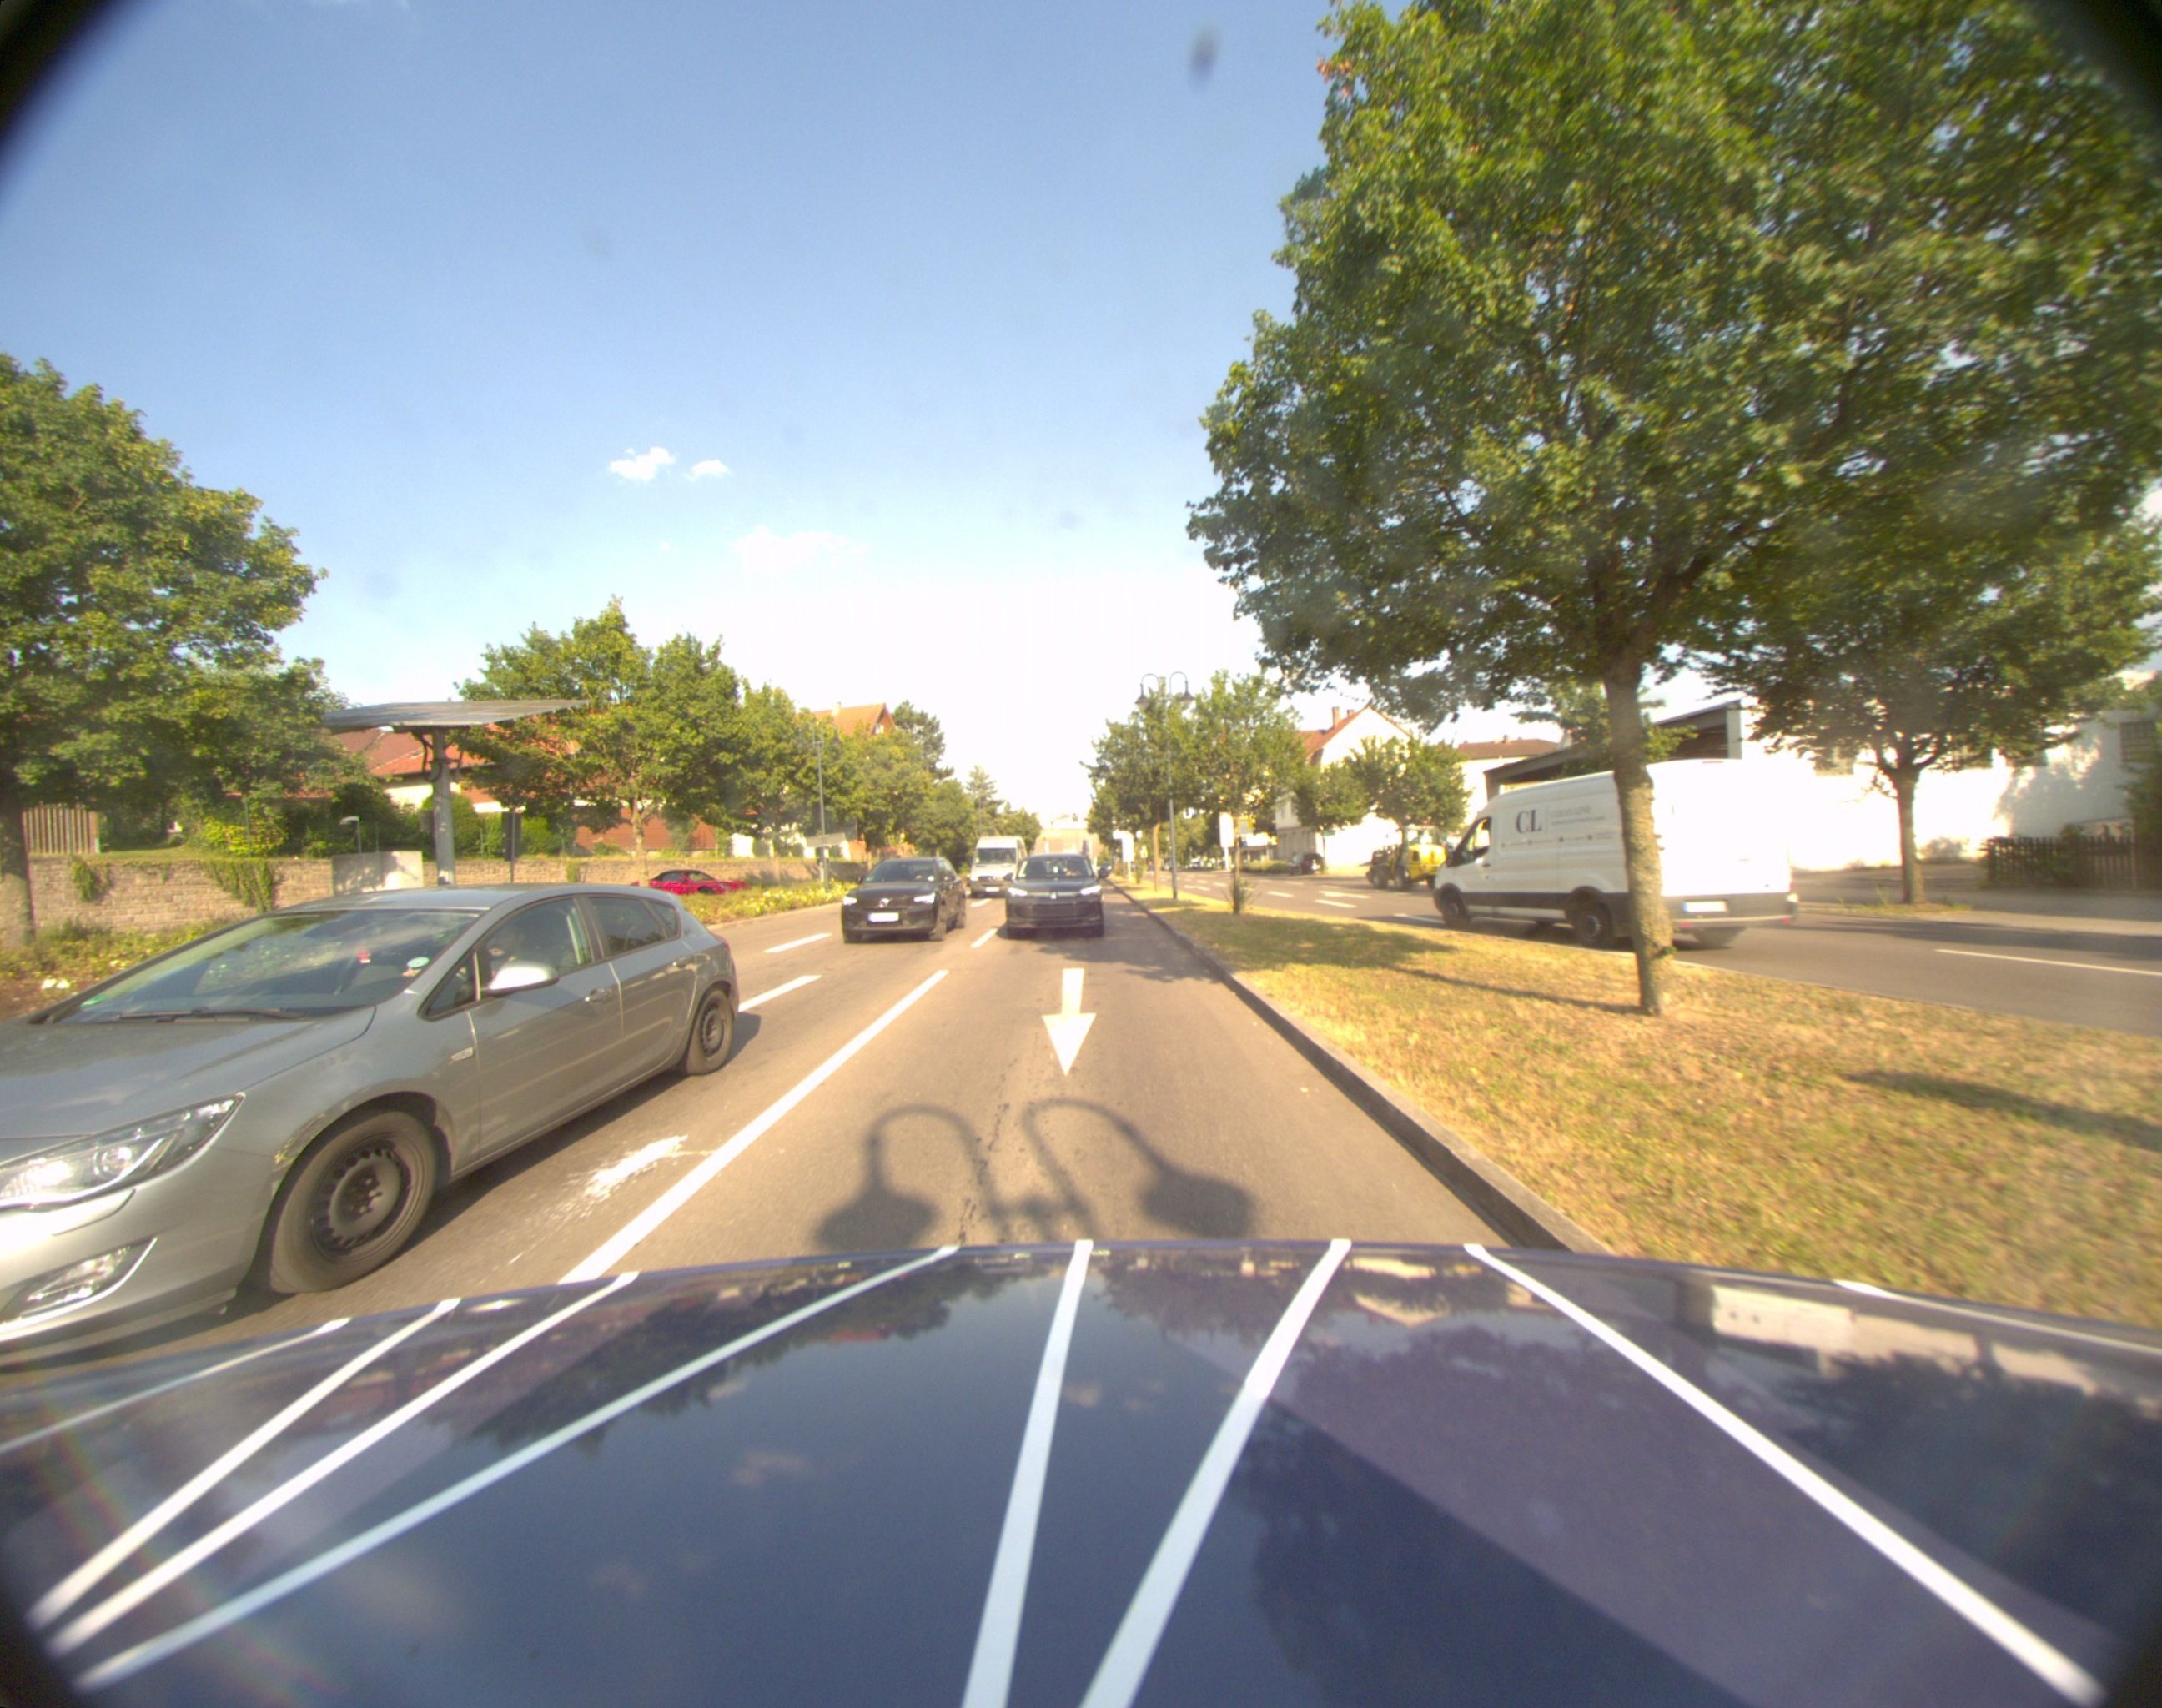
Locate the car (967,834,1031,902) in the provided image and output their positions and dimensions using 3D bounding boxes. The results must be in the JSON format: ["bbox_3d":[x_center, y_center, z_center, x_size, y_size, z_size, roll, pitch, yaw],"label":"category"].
[{"bbox_3d":[-3.436,0.540,33.140,2.040,2.642,6.649,-1,0,0],"label":"car"}]

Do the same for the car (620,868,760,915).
[{"bbox_3d":[-13.518,1.277,26.388,3.994,1.422,1.749,-2,0,8],"label":"car"}]

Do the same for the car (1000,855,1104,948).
[{"bbox_3d":[-0.507,0.848,15.446,1.768,1.582,4.056,-2,0,0],"label":"car"}]

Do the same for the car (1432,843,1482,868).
[{"bbox_3d":[24.913,0.094,50.281,3.438,1.534,1.617,-1,0,-39],"label":"car"}]

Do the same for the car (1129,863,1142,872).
[{"bbox_3d":[10.348,2.507,143.616,1.780,1.516,3.843,-2,0,14],"label":"car"}]

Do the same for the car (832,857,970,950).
[{"bbox_3d":[-3.513,0.889,15.578,1.792,1.596,4.056,-2,0,0],"label":"car"}]

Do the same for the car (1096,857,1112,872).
[{"bbox_3d":[3.219,1.452,105.470,1.815,1.861,4.002,-2,0,6],"label":"car"}]

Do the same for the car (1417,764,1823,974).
[{"bbox_3d":[7.731,0.188,11.893,2.091,2.461,5.476,-2,0,-5],"label":"car"}]

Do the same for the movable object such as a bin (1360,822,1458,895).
[{"bbox_3d":[12.032,0.143,28.241,1.556,2.447,4.978,-1,0,2],"label":"movable object such as a bin"}]

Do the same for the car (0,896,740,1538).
[{"bbox_3d":[-3.519,1.028,3.844,1.652,1.414,4.144,-1,0,1],"label":"car"}]

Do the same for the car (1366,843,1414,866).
[{"bbox_3d":[22.588,0.013,55.462,3.417,1.616,1.857,-1,0,-41],"label":"car"}]

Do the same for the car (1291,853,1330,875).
[{"bbox_3d":[15.628,0.646,51.835,1.672,1.310,3.432,-5,0,3],"label":"car"}]

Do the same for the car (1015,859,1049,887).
[{"bbox_3d":[-3.021,1.162,47.591,1.768,1.582,4.056,-2,0,0],"label":"car"}]

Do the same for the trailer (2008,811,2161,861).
[{"bbox_3d":[26.845,-0.486,19.404,3.362,1.106,2.170,-3,0,16],"label":"trailer"}]
